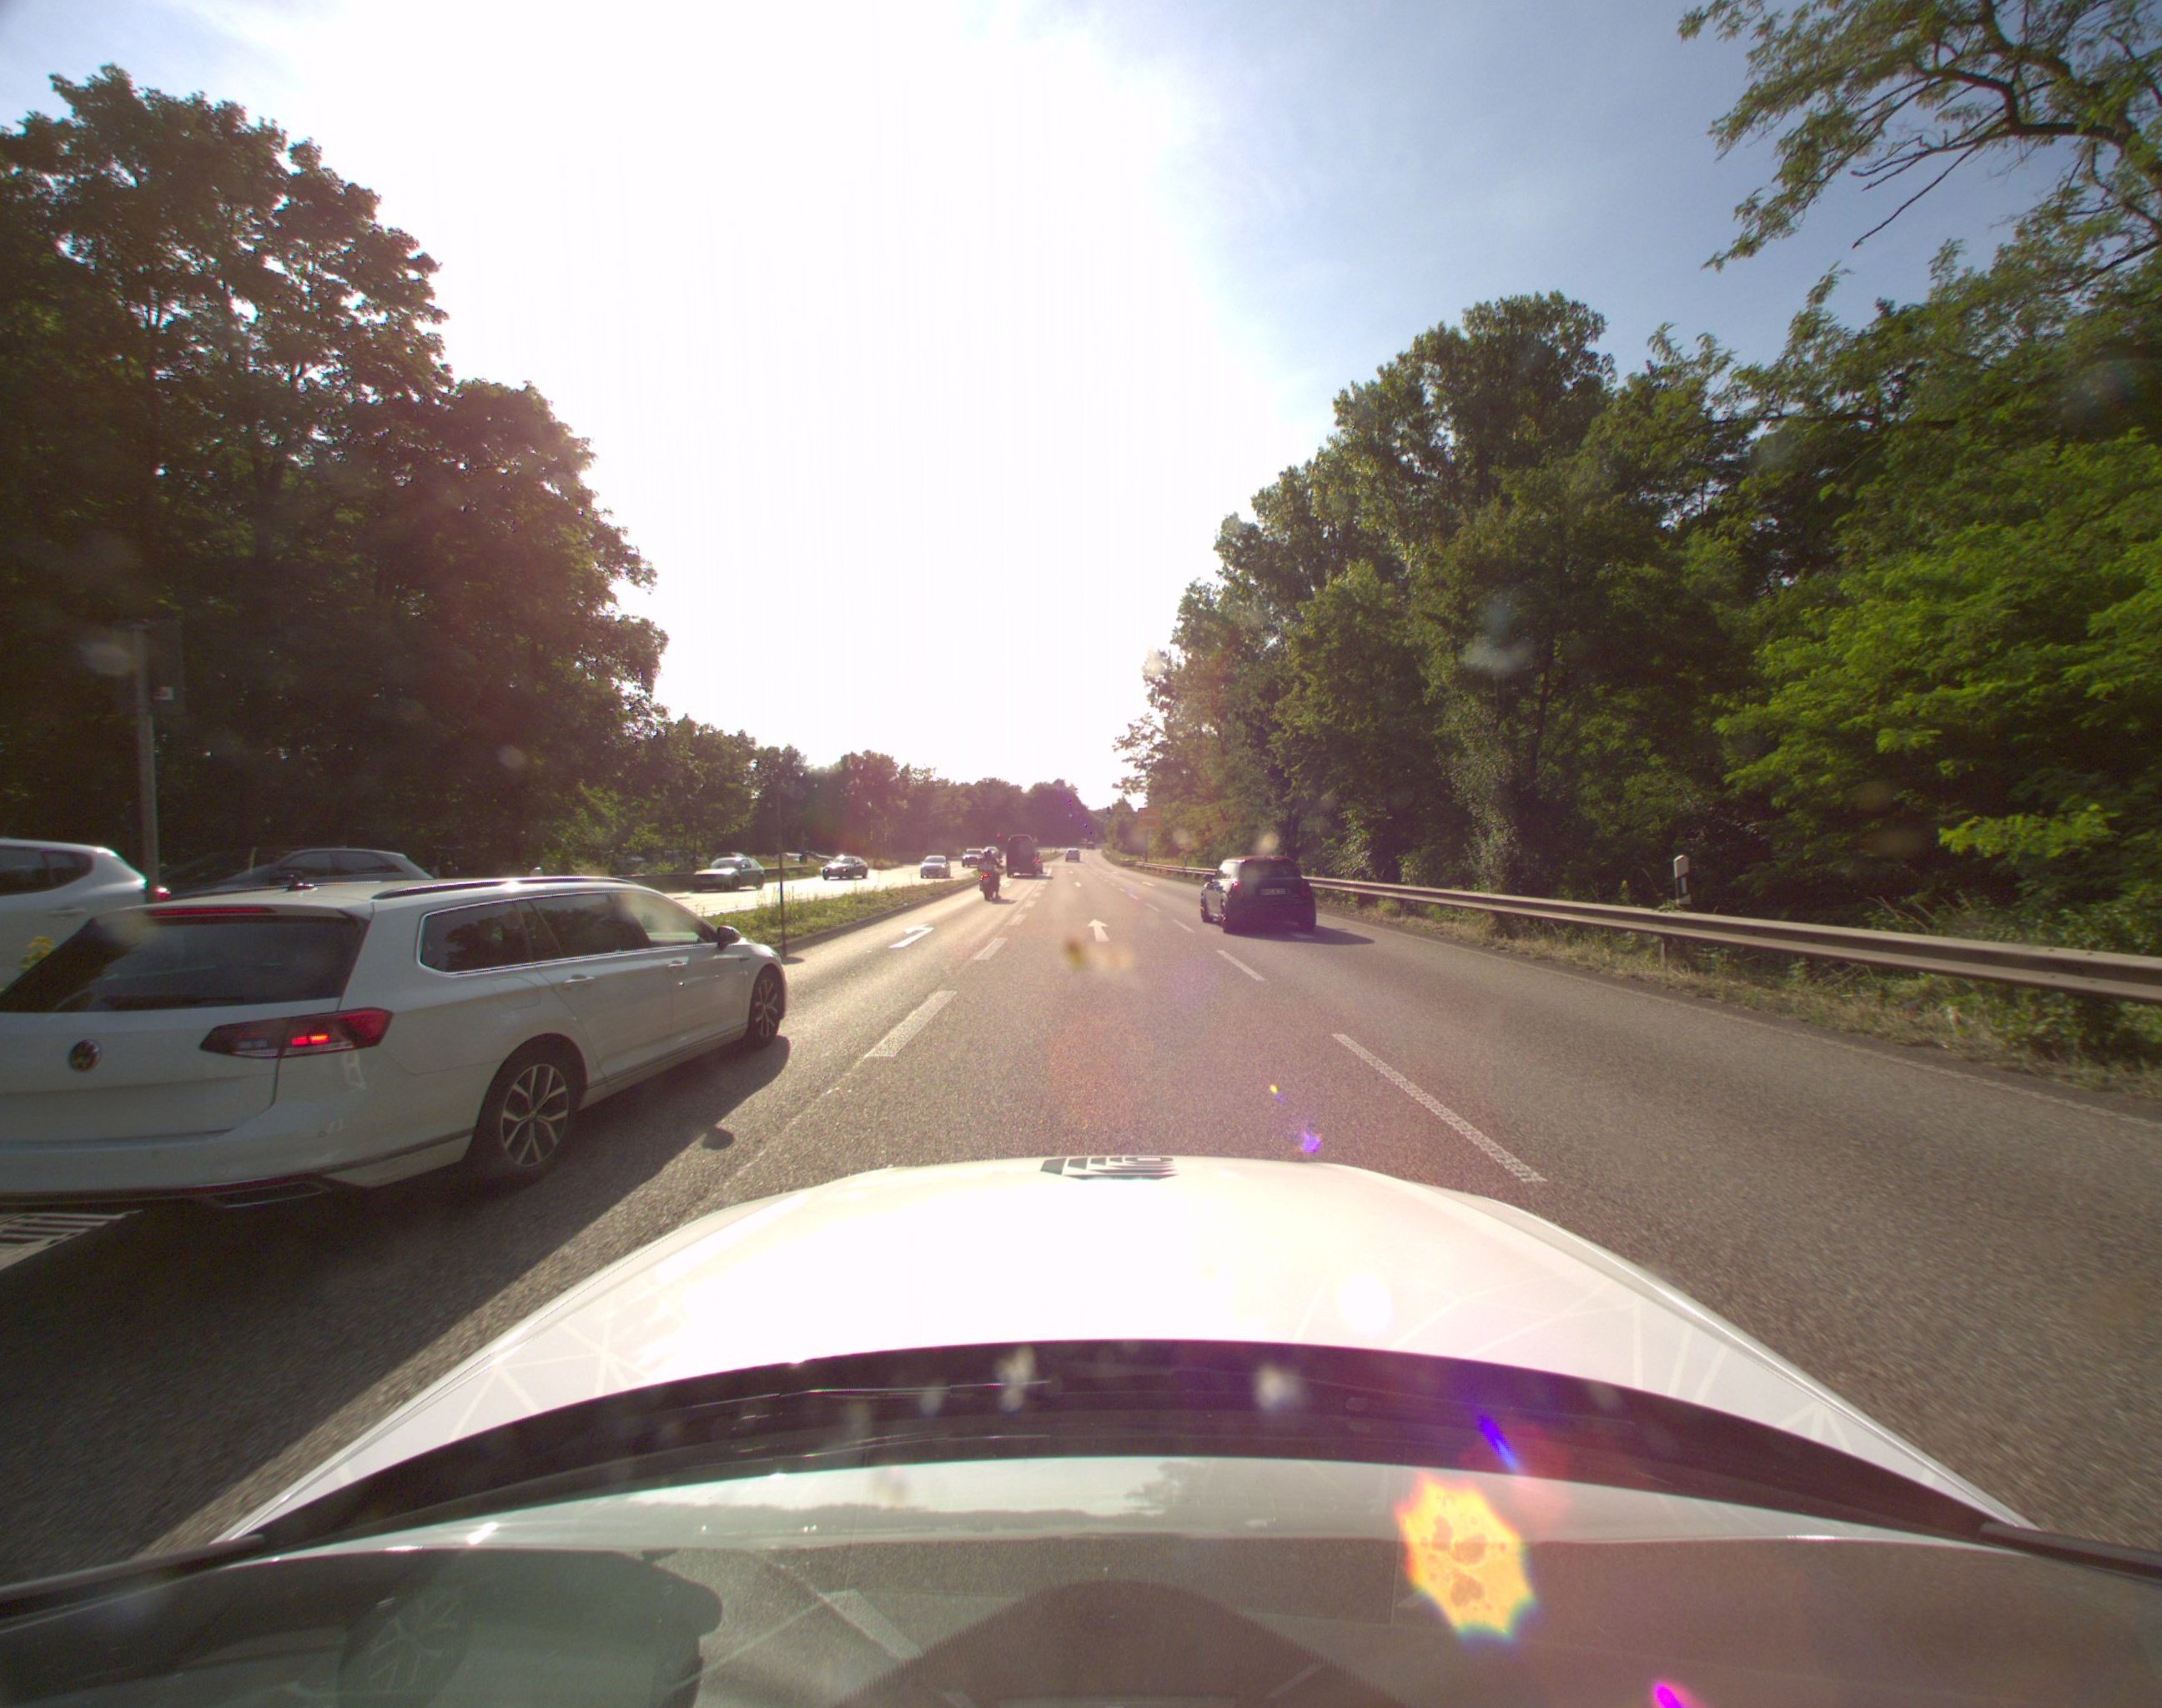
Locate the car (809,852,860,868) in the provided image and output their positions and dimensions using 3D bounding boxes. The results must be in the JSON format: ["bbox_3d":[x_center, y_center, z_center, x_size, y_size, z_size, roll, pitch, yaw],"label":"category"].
[{"bbox_3d":[-25.755,0.612,85.131,4.698,1.490,2.166,1,0,-3],"label":"car"}]

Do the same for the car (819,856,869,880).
[{"bbox_3d":[-14.906,0.841,51.474,1.783,1.406,4.752,0,0,-1],"label":"car"}]

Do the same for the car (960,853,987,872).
[{"bbox_3d":[-10.695,0.857,81.230,2.070,1.763,4.754,-2,0,-1],"label":"car"}]

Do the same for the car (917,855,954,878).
[{"bbox_3d":[-9.720,0.802,54.772,1.783,1.411,4.225,1,0,-1],"label":"car"}]

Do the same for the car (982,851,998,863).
[{"bbox_3d":[-12.698,0.412,114.149,1.879,1.503,4.260,-2,0,-3],"label":"car"}]

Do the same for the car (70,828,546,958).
[{"bbox_3d":[-12.397,0.509,14.015,2.095,1.708,6.228,-1,0,2],"label":"car"}]

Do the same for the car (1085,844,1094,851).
[{"bbox_3d":[1.794,-1.429,180.273,1.740,1.537,3.922,1,0,-2],"label":"car"}]

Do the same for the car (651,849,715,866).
[{"bbox_3d":[-38.724,0.313,79.382,5.027,1.490,2.452,1,0,7],"label":"car"}]

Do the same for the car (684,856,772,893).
[{"bbox_3d":[-14.984,0.828,34.820,1.732,1.378,4.377,-1,0,2],"label":"car"}]

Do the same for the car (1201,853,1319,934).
[{"bbox_3d":[3.545,0.709,16.748,1.812,1.467,3.877,0,0,4],"label":"car"}]

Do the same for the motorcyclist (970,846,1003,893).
[{"bbox_3d":[-3.338,0.523,28.912,0.880,1.616,1.291,1,0,4],"label":"motorcyclist"}]

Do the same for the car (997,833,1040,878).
[{"bbox_3d":[-4.252,0.089,56.779,2.201,2.888,7.014,-1,0,2],"label":"car"}]

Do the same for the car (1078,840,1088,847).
[{"bbox_3d":[0.517,-3.012,227.970,1.838,1.786,4.686,1,0,12],"label":"car"}]

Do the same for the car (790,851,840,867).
[{"bbox_3d":[-26.813,0.465,82.206,4.397,1.490,1.998,1,0,-3],"label":"car"}]

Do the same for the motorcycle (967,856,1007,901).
[{"bbox_3d":[-3.317,0.846,29.029,0.905,1.453,2.691,-3,0,4],"label":"motorcycle"}]

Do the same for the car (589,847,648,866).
[{"bbox_3d":[-45.580,0.283,80.377,4.612,1.727,2.196,1,0,7],"label":"car"}]

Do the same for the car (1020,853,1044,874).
[{"bbox_3d":[-3.832,0.728,64.250,1.640,1.489,4.103,-1,0,0],"label":"car"}]

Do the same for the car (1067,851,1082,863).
[{"bbox_3d":[-0.831,0.363,104.857,1.754,1.380,3.974,1,0,3],"label":"car"}]

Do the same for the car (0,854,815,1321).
[{"bbox_3d":[-3.484,0.802,5.206,1.863,1.521,4.834,2,0,1],"label":"car"}]

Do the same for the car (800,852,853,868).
[{"bbox_3d":[-24.703,0.582,79.157,4.382,1.490,2.005,1,0,8],"label":"car"}]

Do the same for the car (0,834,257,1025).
[{"bbox_3d":[-8.994,0.580,5.692,1.861,1.417,4.417,-1,0,2],"label":"car"}]
